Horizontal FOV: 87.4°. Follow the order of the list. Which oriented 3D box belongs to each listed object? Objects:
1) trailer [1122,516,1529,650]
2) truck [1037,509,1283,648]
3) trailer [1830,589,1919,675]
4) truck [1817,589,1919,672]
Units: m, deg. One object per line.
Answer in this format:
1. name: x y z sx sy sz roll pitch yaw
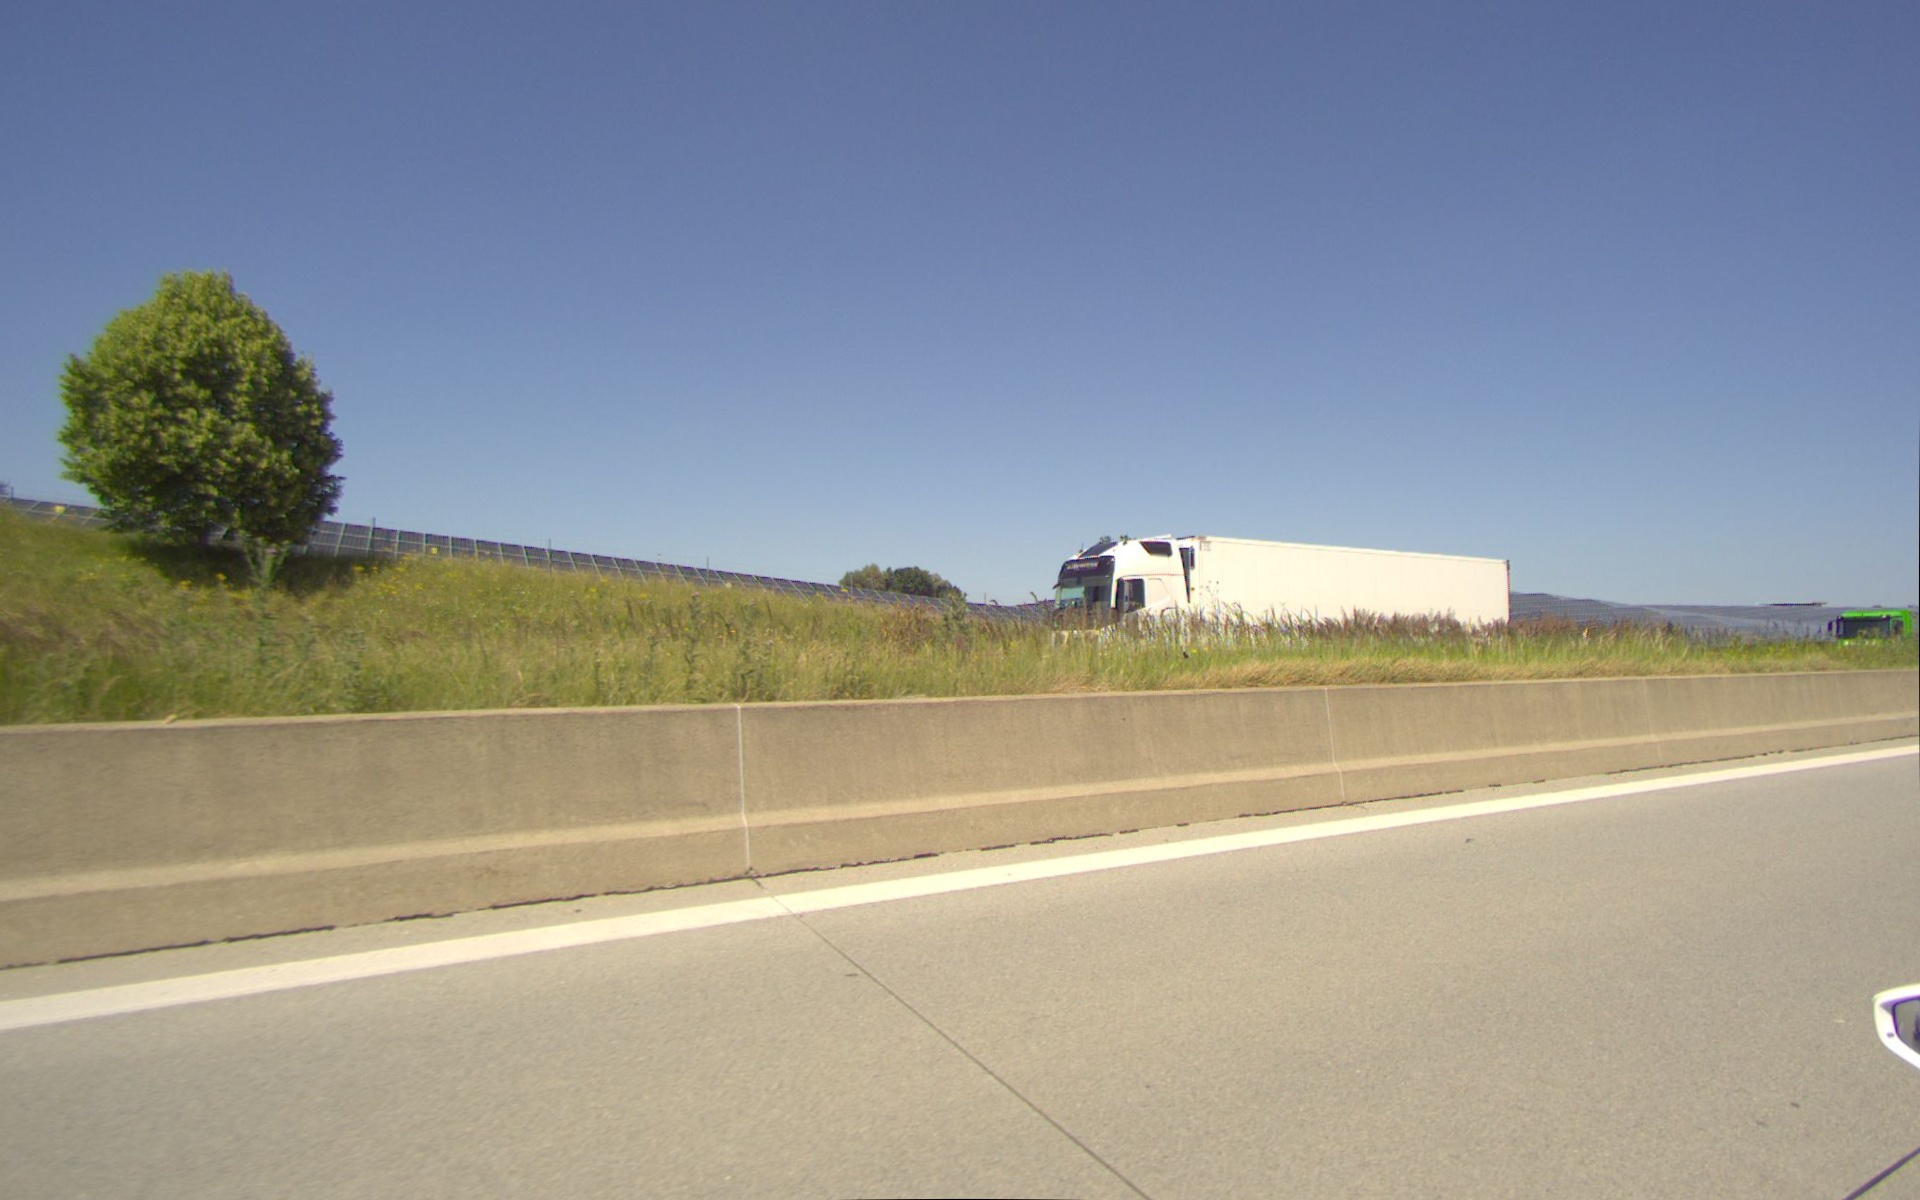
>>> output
1. trailer: 11.259 -0.233 29.527 14.339 3.226 2.818 2 0 -31
2. truck: 5.189 -0.447 25.881 5.758 3.199 2.819 2 0 -30
3. trailer: 49.948 1.661 53.163 10.136 4.247 2.719 1 0 -30
4. truck: 46.164 1.531 50.954 4.301 4.004 2.732 1 0 -30
